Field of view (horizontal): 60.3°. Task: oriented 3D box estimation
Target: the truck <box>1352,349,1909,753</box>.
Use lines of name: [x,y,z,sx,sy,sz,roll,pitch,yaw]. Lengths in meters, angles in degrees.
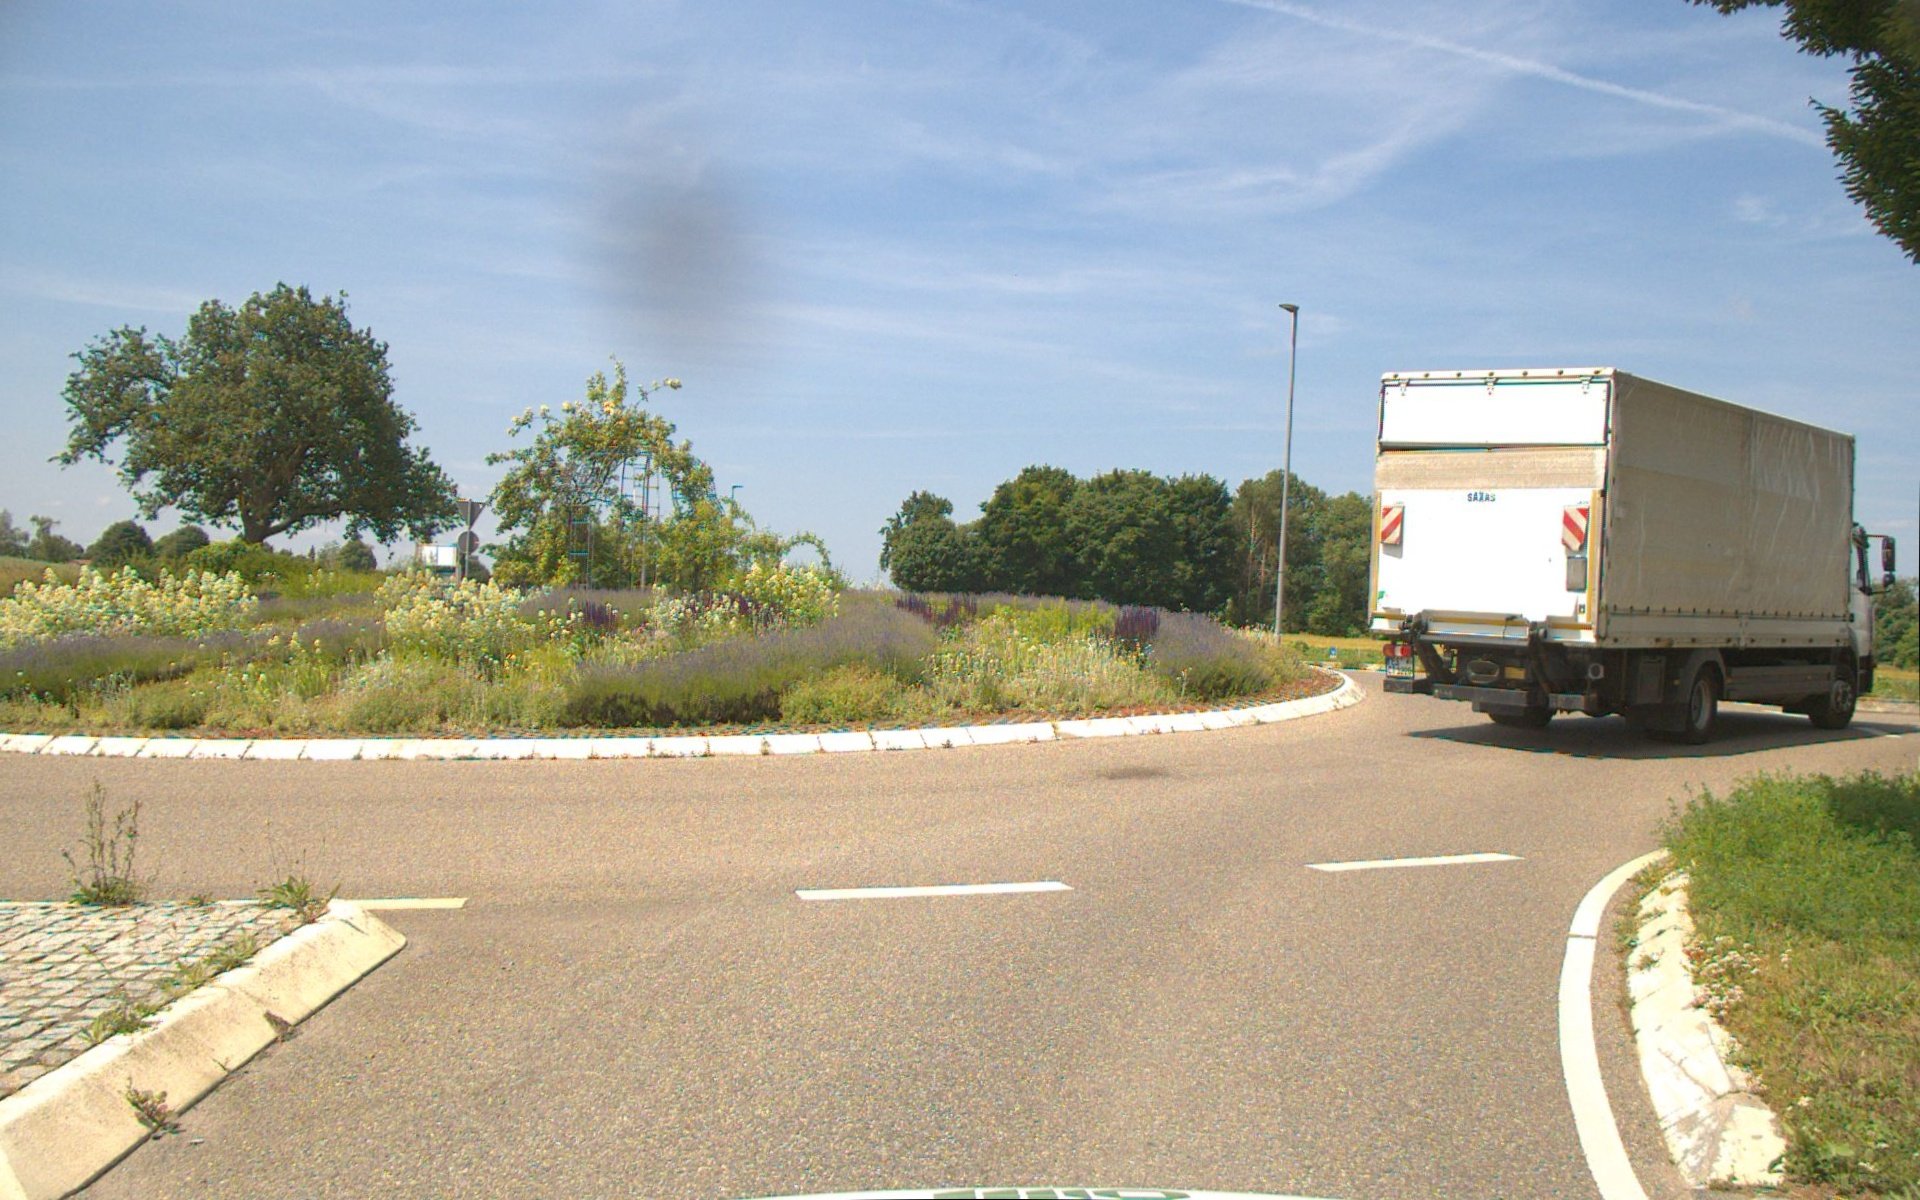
truck: [8.342,-0.439,19.601,2.730,3.734,9.316,3,1,44]
